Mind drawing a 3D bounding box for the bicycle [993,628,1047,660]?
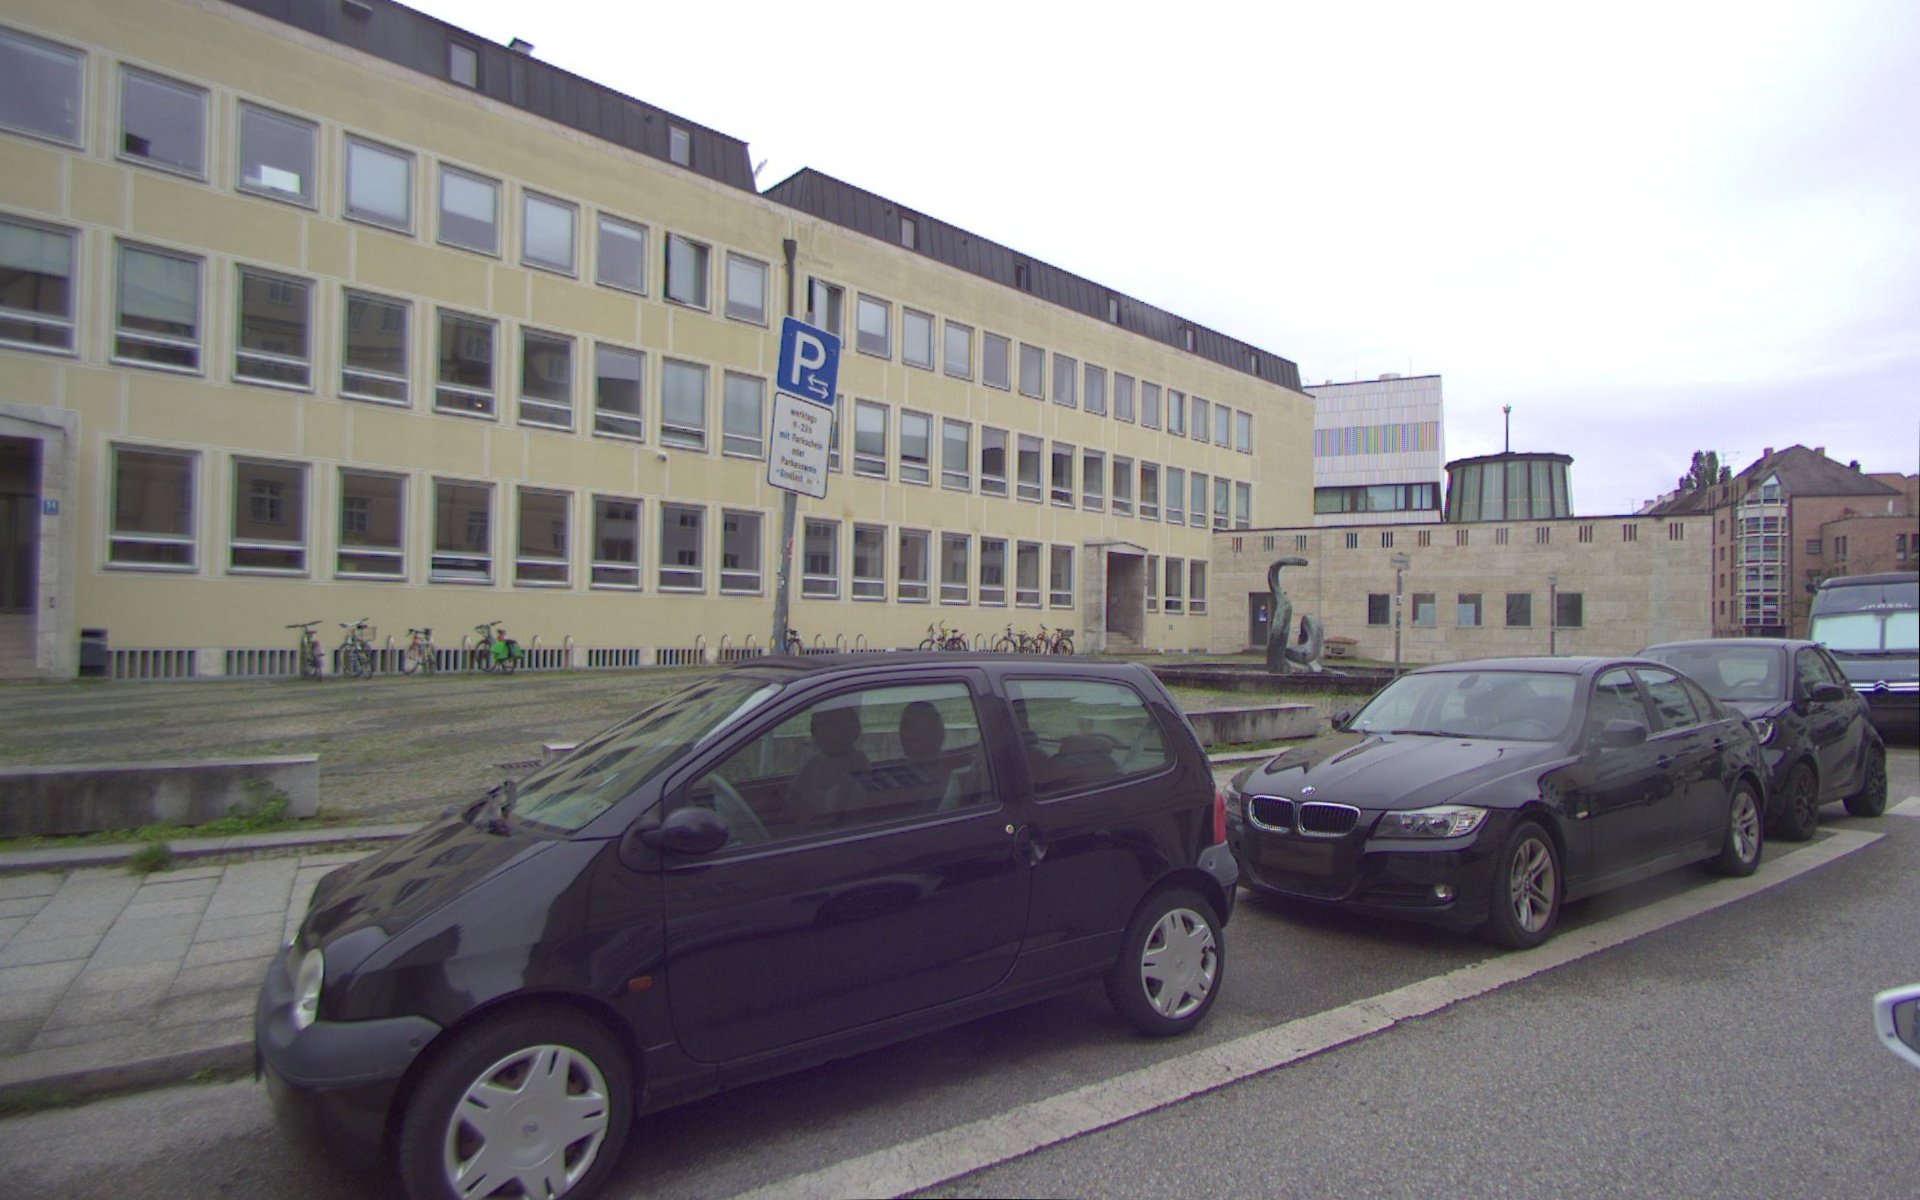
[{"bbox_3d":[2.054,1.498,34.480,0.621,1.028,1.928,2,-1,-43],"label":"bicycle"}]

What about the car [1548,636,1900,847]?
[{"bbox_3d":[6.736,1.098,8.819,2.949,1.521,1.659,2,-3,-36],"label":"car"}]

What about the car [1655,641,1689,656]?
[{"bbox_3d":[75.573,5.112,106.654,1.777,1.492,4.118,1,-1,18],"label":"car"}]

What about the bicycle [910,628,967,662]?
[{"bbox_3d":[-0.701,1.406,31.713,1.926,1.028,0.622,0,-1,44],"label":"bicycle"}]

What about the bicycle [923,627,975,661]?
[{"bbox_3d":[-0.370,1.410,32.578,0.620,1.028,1.931,1,-1,-39],"label":"bicycle"}]

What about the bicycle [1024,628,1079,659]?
[{"bbox_3d":[3.212,1.523,35.289,1.923,1.028,0.623,0,-1,40],"label":"bicycle"}]

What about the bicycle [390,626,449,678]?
[{"bbox_3d":[-11.449,1.075,21.253,0.621,1.028,1.928,2,-1,-43],"label":"bicycle"}]

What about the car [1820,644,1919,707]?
[{"bbox_3d":[24.134,1.855,24.821,4.003,1.500,1.687,-2,-5,10],"label":"car"}]

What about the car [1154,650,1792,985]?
[{"bbox_3d":[3.421,1.036,6.363,4.412,1.424,1.787,2,-3,-36],"label":"car"}]

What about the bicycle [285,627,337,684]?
[{"bbox_3d":[-12.609,1.052,19.493,0.620,1.028,1.931,1,-1,-39],"label":"bicycle"}]

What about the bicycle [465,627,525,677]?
[{"bbox_3d":[-10.250,1.121,22.106,0.621,1.028,1.928,2,-1,-43],"label":"bicycle"}]

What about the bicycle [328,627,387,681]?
[{"bbox_3d":[-12.112,1.061,20.163,0.621,1.028,1.928,2,-1,-43],"label":"bicycle"}]

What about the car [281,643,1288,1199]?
[{"bbox_3d":[-0.524,0.908,3.765,3.277,1.472,1.647,2,-3,-33],"label":"car"}]

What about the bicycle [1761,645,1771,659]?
[{"bbox_3d":[80.451,5.179,100.239,0.543,1.305,1.756,1,-1,30],"label":"bicycle"}]

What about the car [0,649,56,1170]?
[{"bbox_3d":[-4.334,0.805,1.328,4.345,1.472,1.746,2,-3,-31],"label":"car"}]

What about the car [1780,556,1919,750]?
[{"bbox_3d":[15.081,0.812,16.216,5.977,2.676,2.143,2,-3,-44],"label":"car"}]

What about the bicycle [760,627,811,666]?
[{"bbox_3d":[-4.883,1.275,28.039,0.619,1.028,1.933,1,-1,-36],"label":"bicycle"}]
